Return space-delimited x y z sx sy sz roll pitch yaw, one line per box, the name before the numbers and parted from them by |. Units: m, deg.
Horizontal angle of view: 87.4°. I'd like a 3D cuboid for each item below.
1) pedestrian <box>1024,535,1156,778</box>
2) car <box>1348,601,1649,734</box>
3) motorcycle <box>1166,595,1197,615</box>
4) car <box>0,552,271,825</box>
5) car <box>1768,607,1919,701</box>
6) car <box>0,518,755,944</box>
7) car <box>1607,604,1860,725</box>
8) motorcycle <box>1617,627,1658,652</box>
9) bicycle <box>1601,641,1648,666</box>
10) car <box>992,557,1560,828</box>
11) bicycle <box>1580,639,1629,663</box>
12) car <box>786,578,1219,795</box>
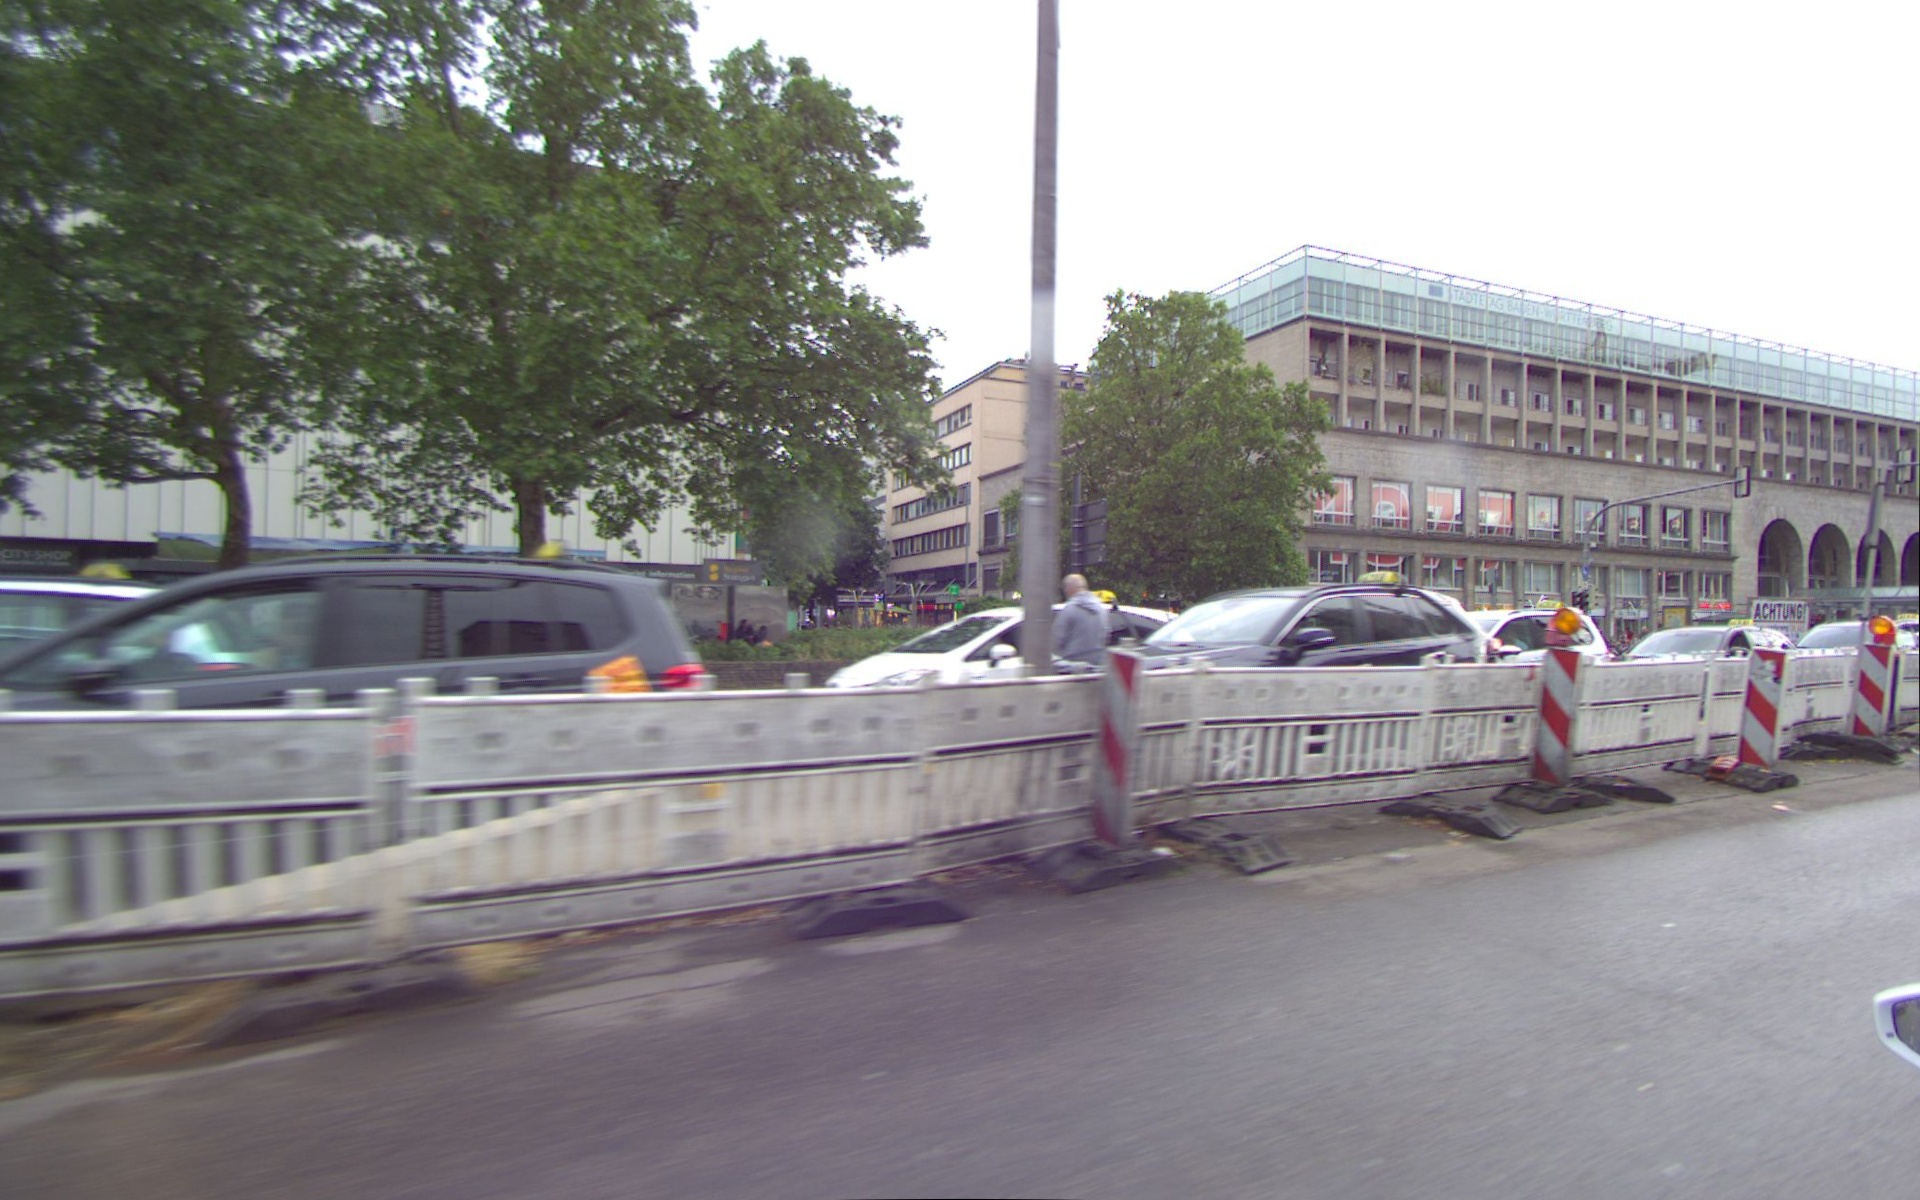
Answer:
pedestrian | 1.156 0.483 9.032 0.812 2.040 0.871 1 0 -31
car | 8.061 0.905 14.978 4.425 1.745 1.777 0 -1 -27
motorcycle | 12.148 0.296 55.087 1.695 1.060 0.528 1 -1 -28
car | -7.361 0.547 6.697 4.367 1.725 1.882 0 1 -29
car | 18.893 1.032 20.685 4.442 1.722 1.896 0 1 -27
car | -3.722 0.576 5.525 4.749 1.794 1.986 0 -1 -27
car | 13.946 1.062 18.085 4.465 1.923 1.896 0 1 -27
motorcycle | 30.992 1.807 45.983 0.596 1.072 1.429 0 1 -34
bicycle | 37.771 3.027 57.114 0.555 1.343 2.193 1 -1 -33
car | 2.833 0.657 8.834 4.749 1.841 1.986 0 -1 -27
bicycle | 32.872 2.605 51.264 0.590 1.091 2.077 0 1 -31
car | 0.546 0.789 11.235 4.515 1.877 1.903 0 5 -32
